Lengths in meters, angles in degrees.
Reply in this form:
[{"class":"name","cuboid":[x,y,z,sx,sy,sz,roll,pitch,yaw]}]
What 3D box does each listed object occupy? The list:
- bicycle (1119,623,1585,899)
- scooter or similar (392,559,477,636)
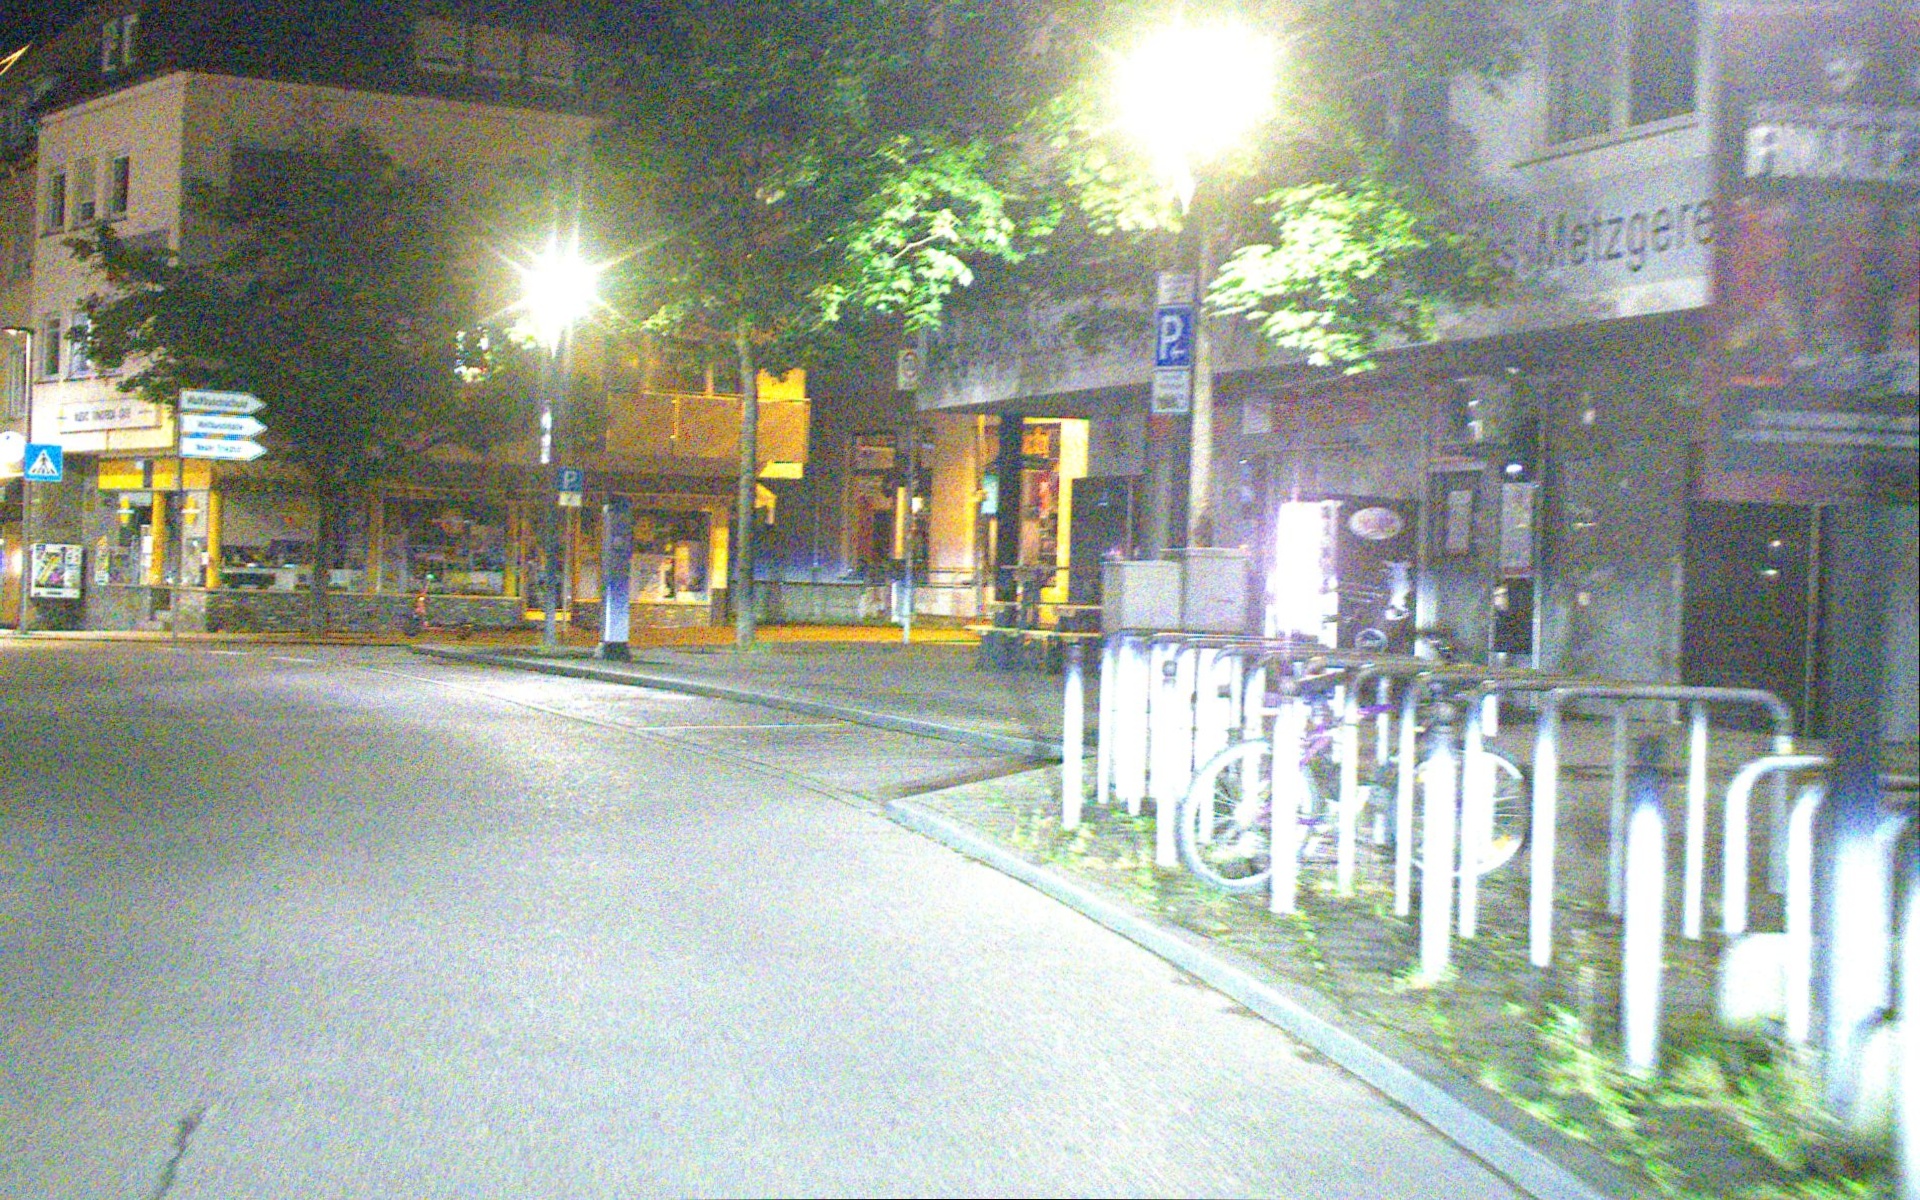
[{"class":"bicycle","cuboid":[1.600,0.653,14.045,1.749,1.059,0.656,2,1,-20]},{"class":"scooter or similar","cuboid":[-8.805,-0.039,57.616,1.246,1.223,0.598,3,1,-23]}]
